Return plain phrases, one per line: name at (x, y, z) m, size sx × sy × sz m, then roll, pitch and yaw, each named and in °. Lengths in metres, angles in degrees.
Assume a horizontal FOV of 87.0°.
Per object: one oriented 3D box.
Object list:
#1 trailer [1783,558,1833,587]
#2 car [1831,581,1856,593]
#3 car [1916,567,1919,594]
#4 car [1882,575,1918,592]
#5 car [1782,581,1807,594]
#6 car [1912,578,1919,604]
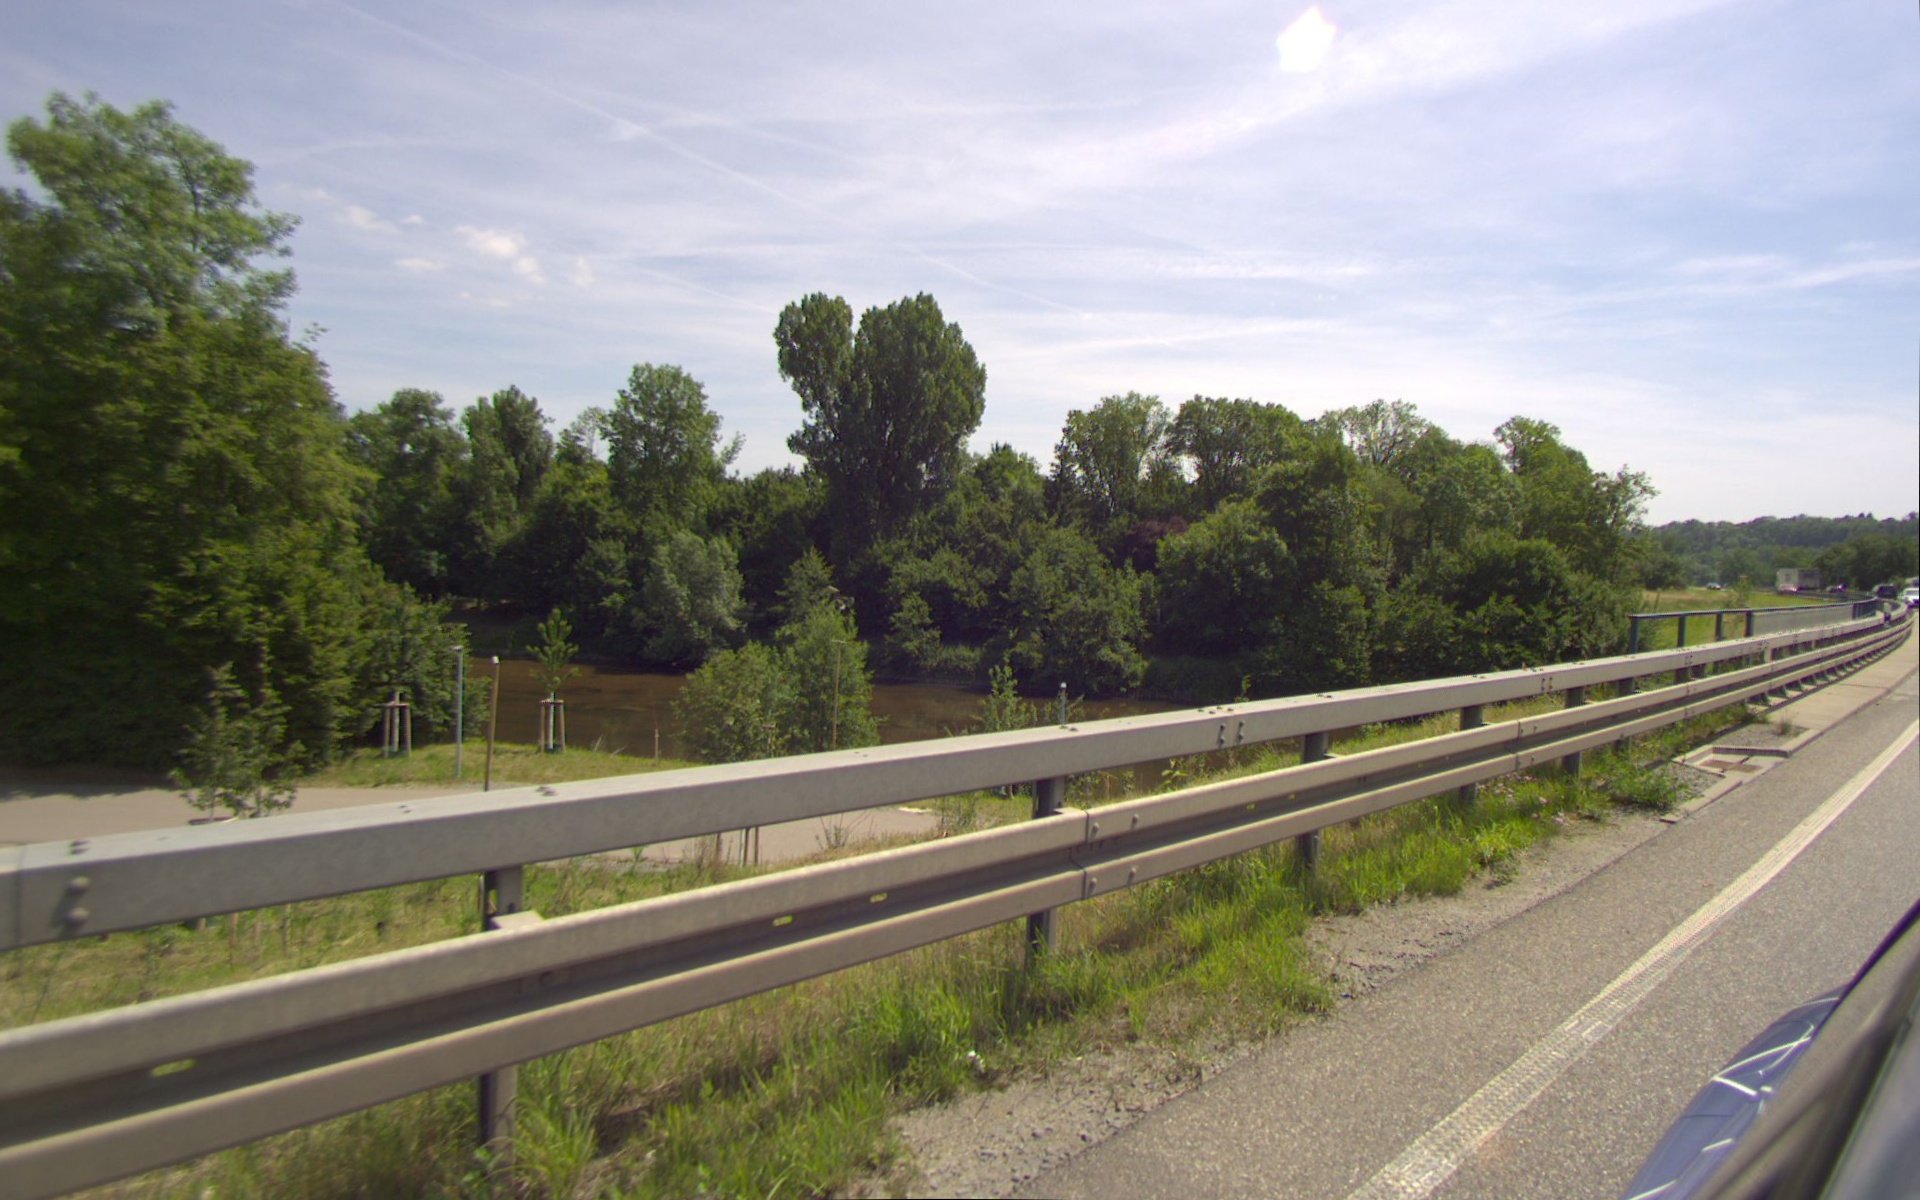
trailer at (131.662, -4.209, 157.364) m, size 2.835 × 4.240 × 14.357 m, roll 0°, pitch 0°, yaw 28°
car at (121.122, -1.795, 138.773) m, size 1.652 × 1.475 × 3.856 m, roll 3°, pitch 2°, yaw 28°
car at (95.220, -1.893, 98.554) m, size 2.171 × 2.591 × 5.728 m, roll 0°, pitch 1°, yaw 33°
car at (105.893, -1.847, 114.069) m, size 1.843 × 1.821 × 4.926 m, roll 0°, pitch 1°, yaw 30°
car at (121.050, -1.796, 146.794) m, size 1.963 × 1.754 × 3.962 m, roll 2°, pitch 0°, yaw 27°
car at (70.848, -0.649, 73.708) m, size 1.973 × 1.811 × 3.943 m, roll 0°, pitch 2°, yaw 40°
